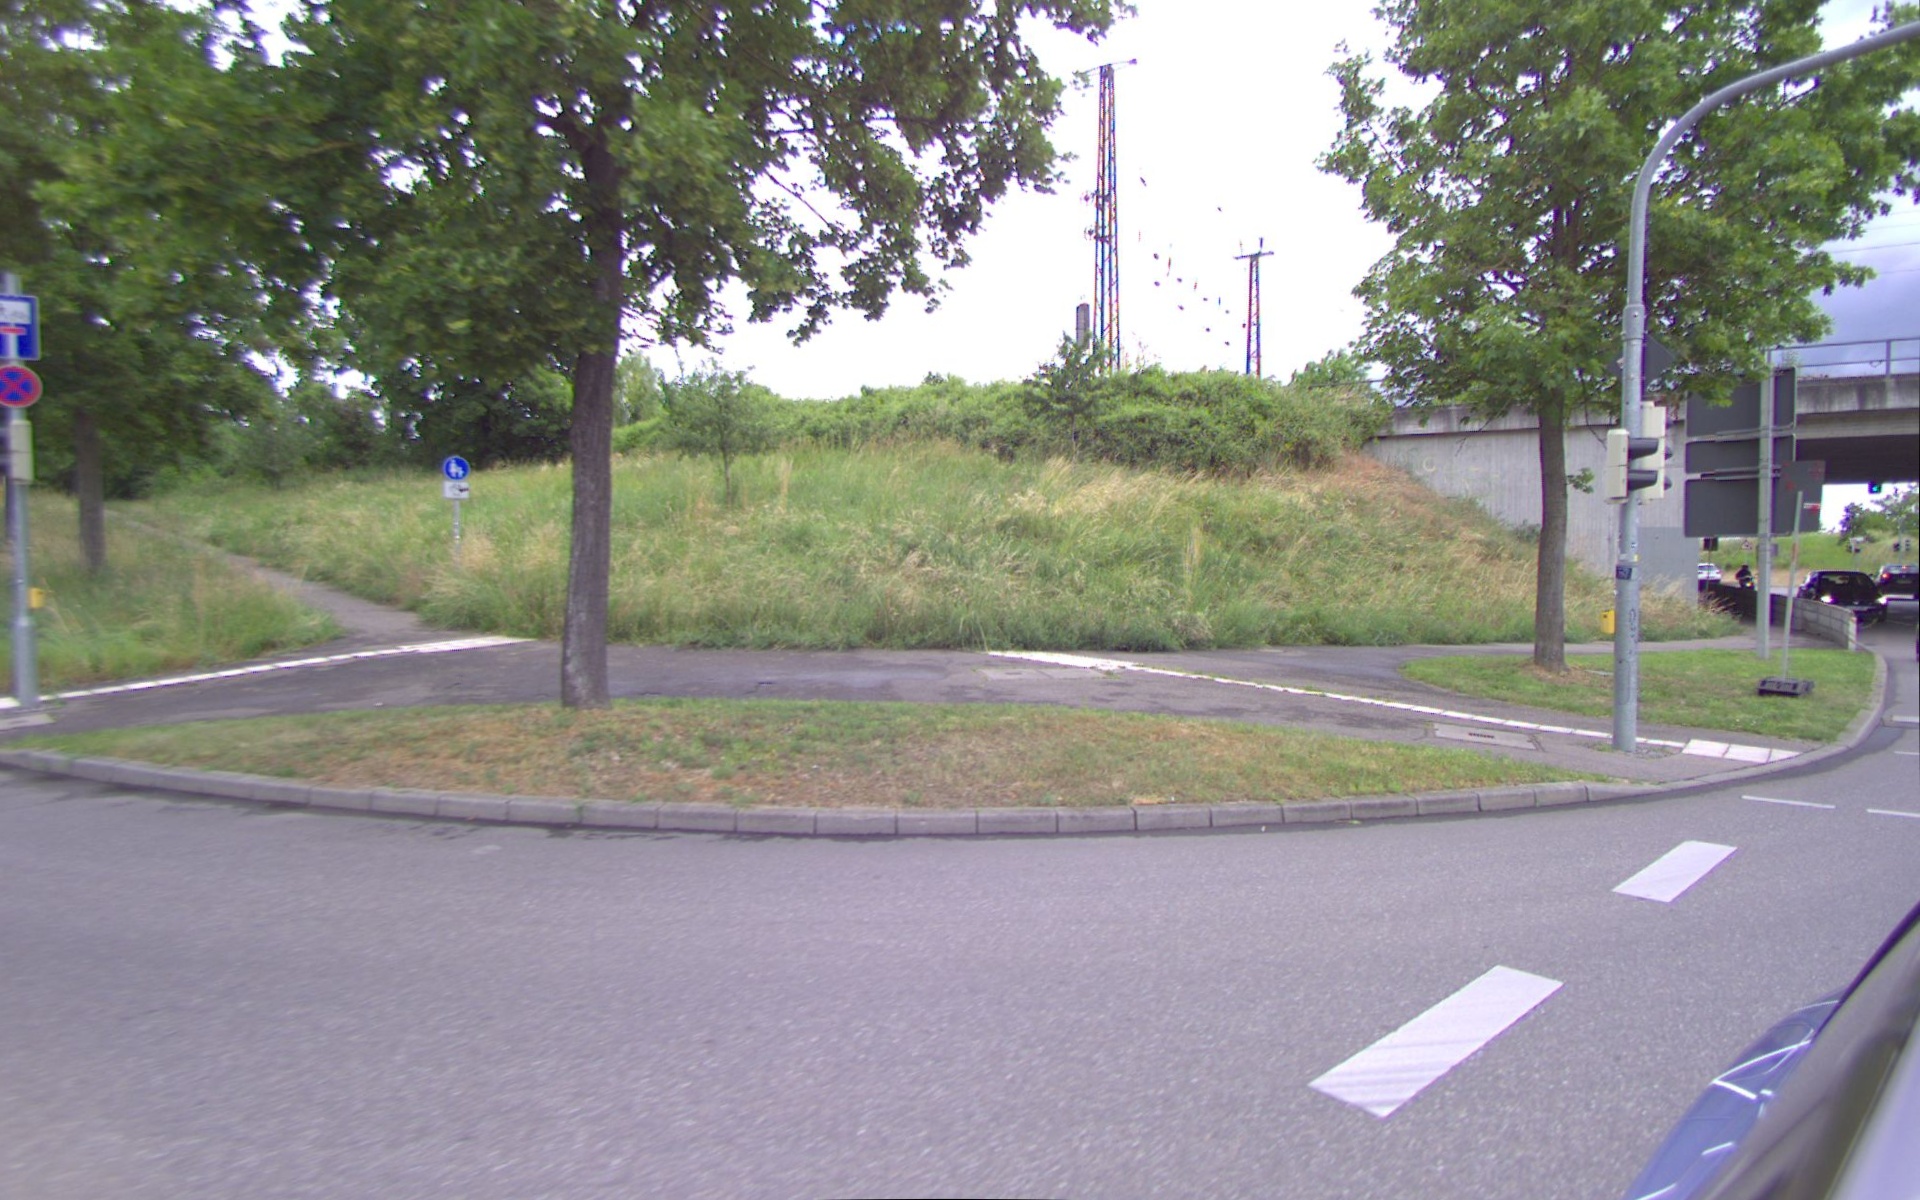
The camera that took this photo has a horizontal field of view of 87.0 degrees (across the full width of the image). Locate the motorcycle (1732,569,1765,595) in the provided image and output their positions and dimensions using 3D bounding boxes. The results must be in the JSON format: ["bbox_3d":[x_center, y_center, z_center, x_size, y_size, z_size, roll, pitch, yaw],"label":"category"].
[{"bbox_3d":[35.255,-0.815,45.259,0.876,1.118,2.334,0,1,31],"label":"motorcycle"}]

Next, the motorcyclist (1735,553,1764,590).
[{"bbox_3d":[35.126,-1.267,45.059,0.876,1.625,1.230,0,0,32],"label":"motorcyclist"}]

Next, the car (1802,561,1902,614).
[{"bbox_3d":[28.438,-0.401,32.386,1.746,1.560,3.955,0,1,32],"label":"car"}]

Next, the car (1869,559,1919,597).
[{"bbox_3d":[43.007,-0.985,45.971,1.746,1.640,4.324,-1,1,31],"label":"car"}]

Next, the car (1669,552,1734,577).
[{"bbox_3d":[53.819,-2.553,73.520,1.725,1.689,3.890,-1,1,-3],"label":"car"}]
